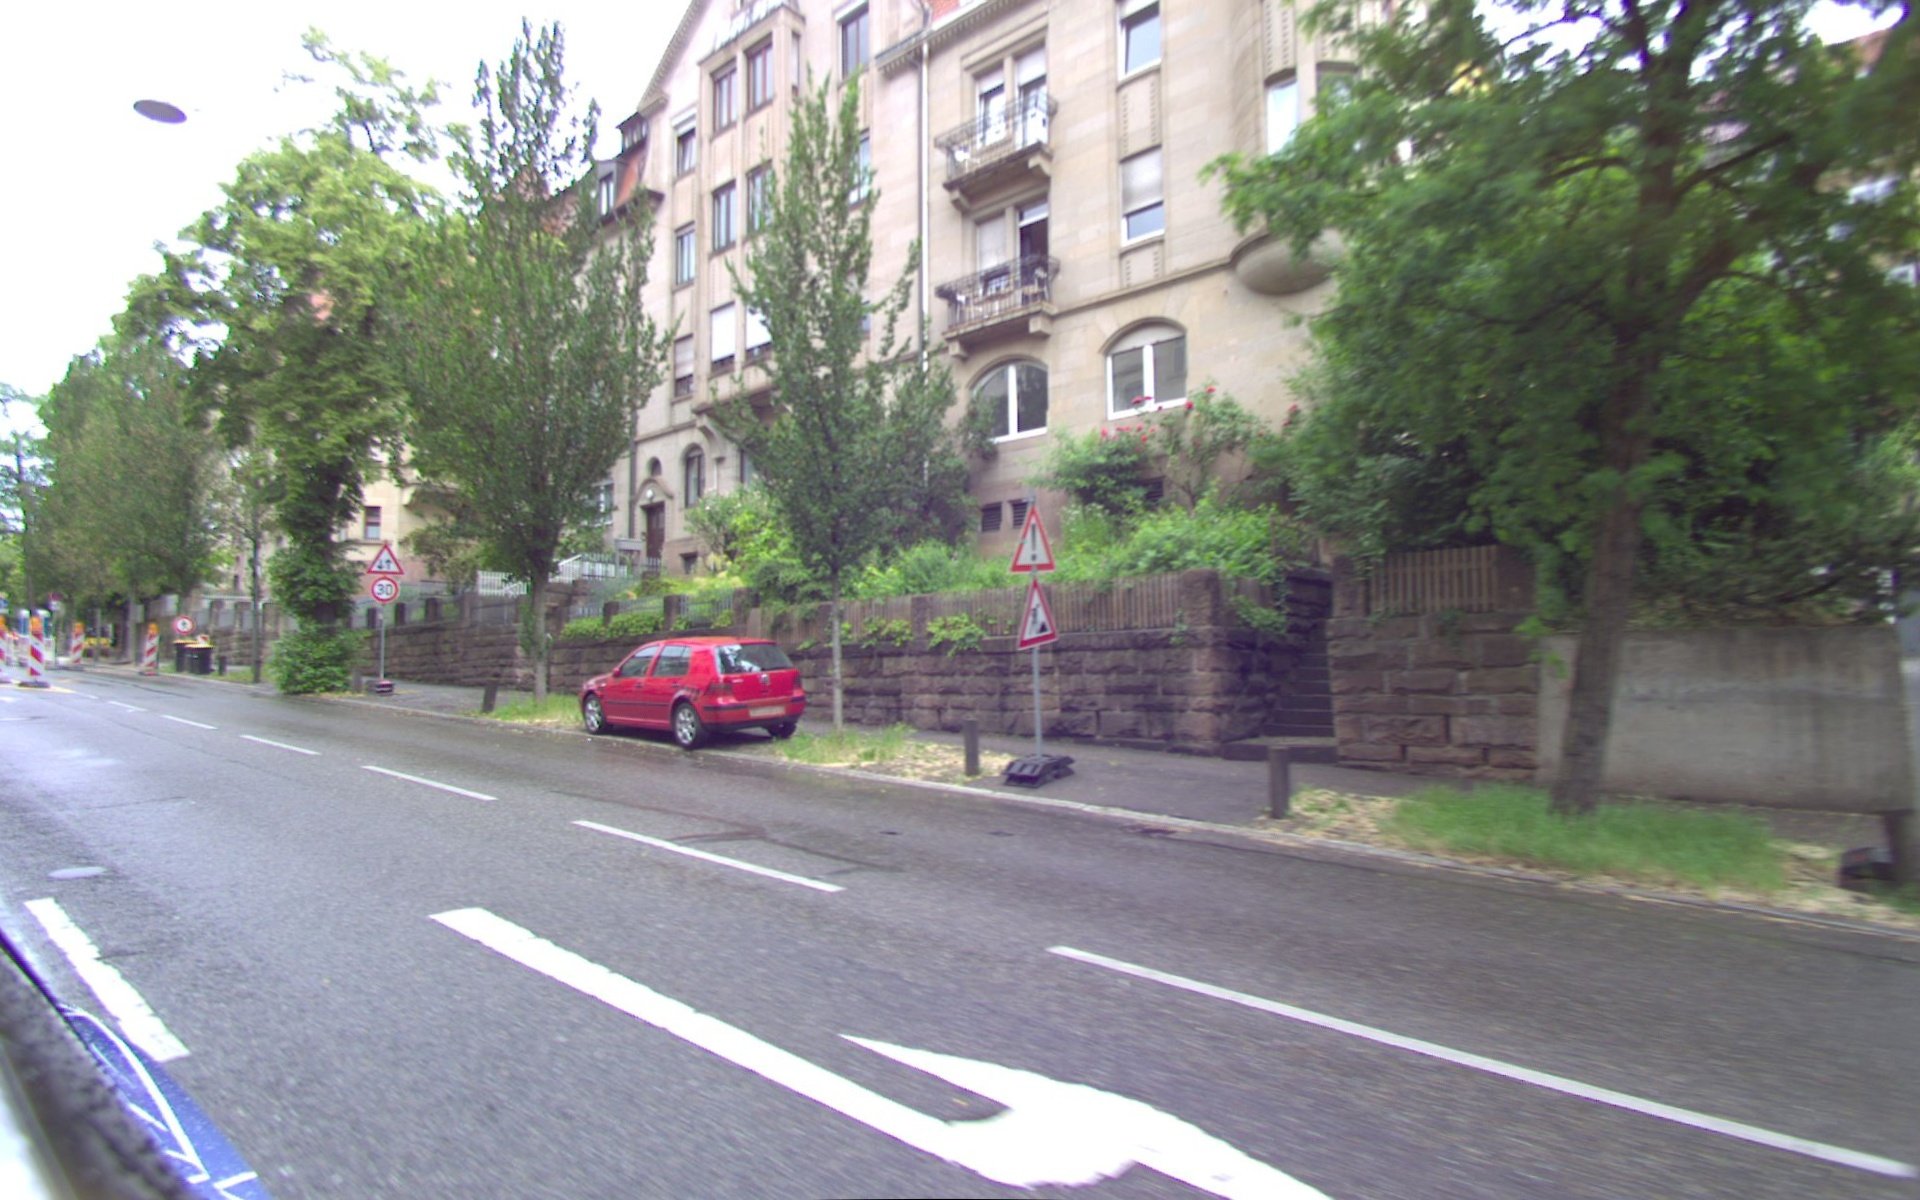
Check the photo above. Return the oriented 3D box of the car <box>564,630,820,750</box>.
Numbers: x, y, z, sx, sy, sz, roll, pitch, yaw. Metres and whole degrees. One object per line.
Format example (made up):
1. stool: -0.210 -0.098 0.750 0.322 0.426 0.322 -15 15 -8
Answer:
1. car: -3.941 1.171 14.530 4.062 1.462 1.596 -1 -2 42

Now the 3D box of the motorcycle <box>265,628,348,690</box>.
1. motorcycle: -16.138 1.430 24.961 3.058 1.425 0.792 -2 -1 39
